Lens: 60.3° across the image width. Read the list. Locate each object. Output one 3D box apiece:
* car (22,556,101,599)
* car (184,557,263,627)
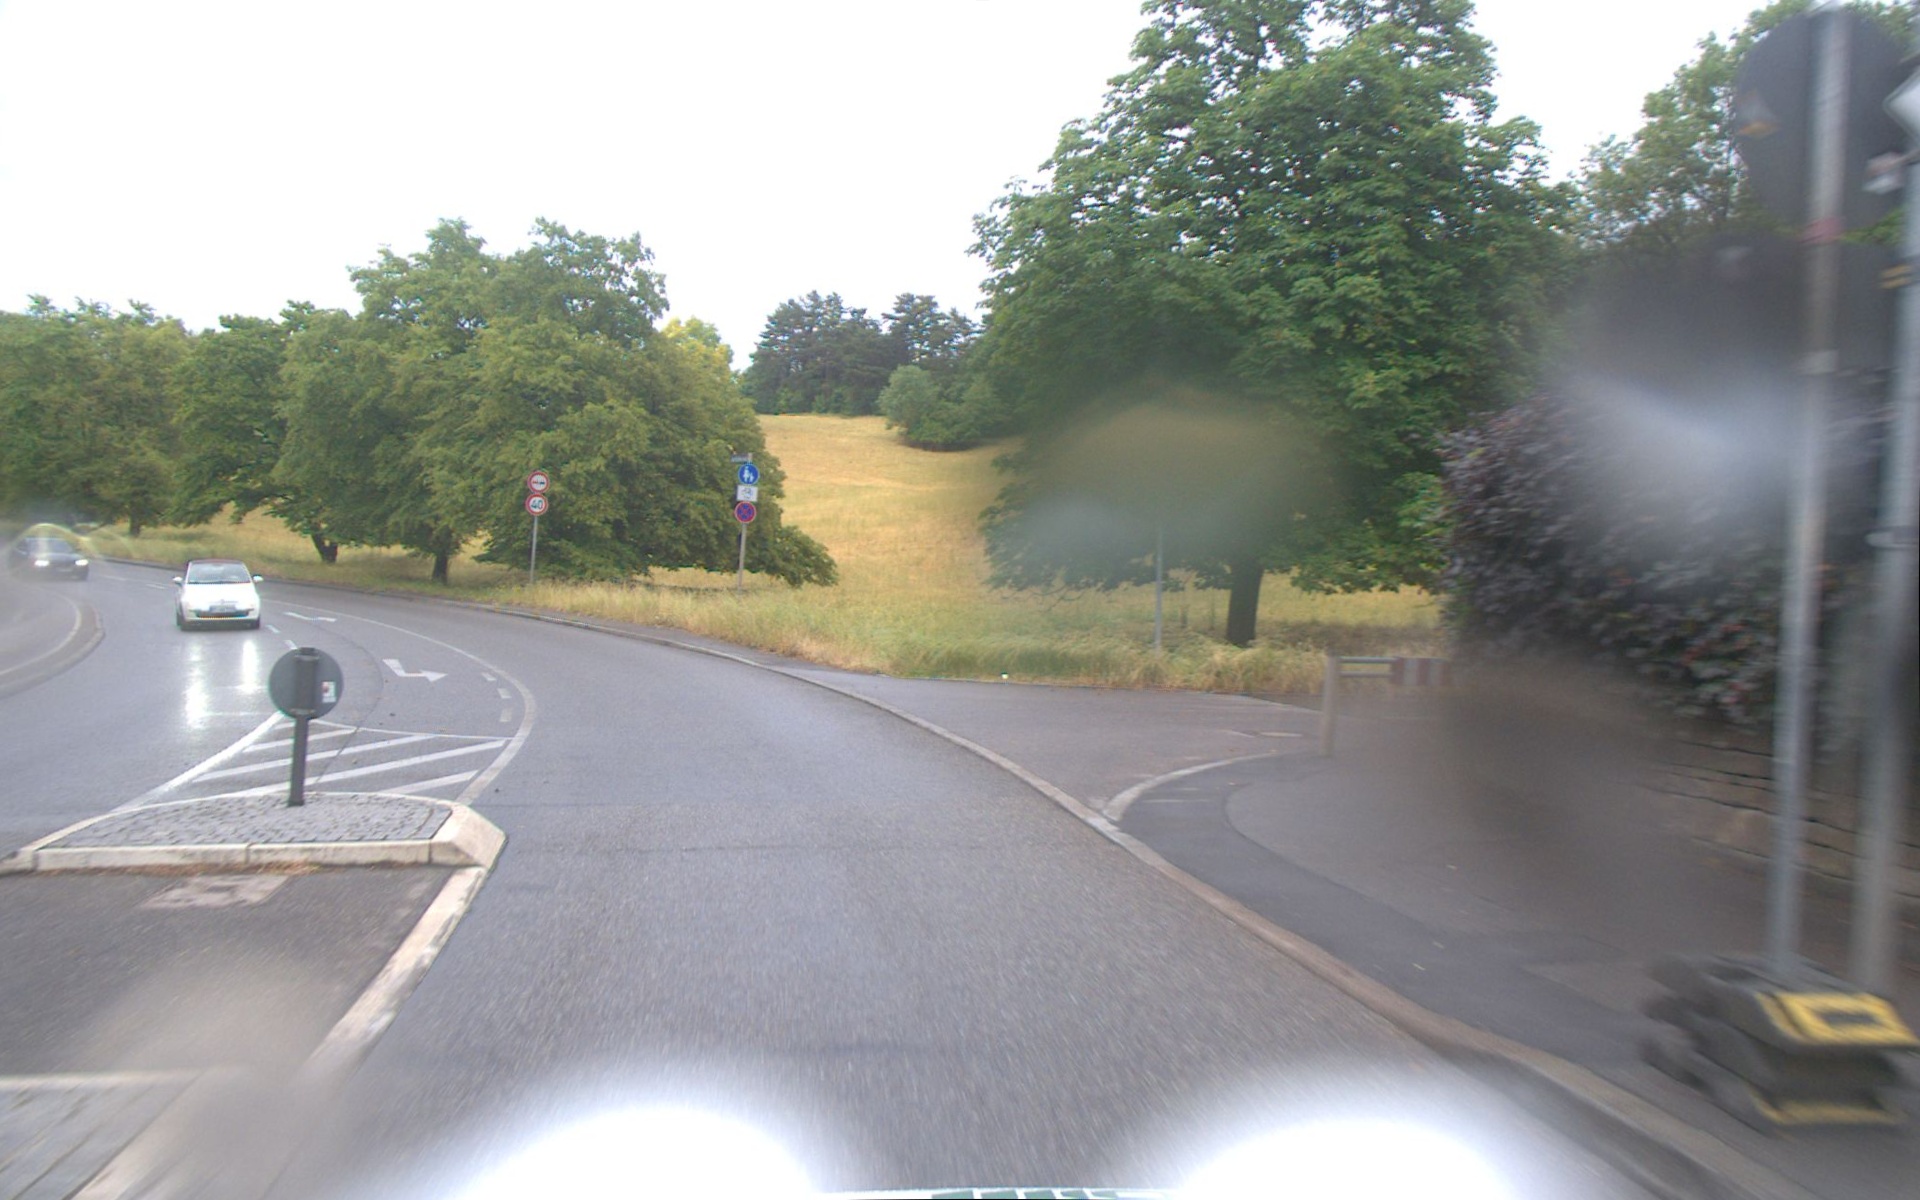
[{"bbox_3d":[-33.091,-0.848,60.863,1.834,1.527,4.568,-2,2,-38],"label":"car"},{"bbox_3d":[-16.696,-0.208,37.428,1.547,1.503,3.638,0,1,-25],"label":"car"}]
